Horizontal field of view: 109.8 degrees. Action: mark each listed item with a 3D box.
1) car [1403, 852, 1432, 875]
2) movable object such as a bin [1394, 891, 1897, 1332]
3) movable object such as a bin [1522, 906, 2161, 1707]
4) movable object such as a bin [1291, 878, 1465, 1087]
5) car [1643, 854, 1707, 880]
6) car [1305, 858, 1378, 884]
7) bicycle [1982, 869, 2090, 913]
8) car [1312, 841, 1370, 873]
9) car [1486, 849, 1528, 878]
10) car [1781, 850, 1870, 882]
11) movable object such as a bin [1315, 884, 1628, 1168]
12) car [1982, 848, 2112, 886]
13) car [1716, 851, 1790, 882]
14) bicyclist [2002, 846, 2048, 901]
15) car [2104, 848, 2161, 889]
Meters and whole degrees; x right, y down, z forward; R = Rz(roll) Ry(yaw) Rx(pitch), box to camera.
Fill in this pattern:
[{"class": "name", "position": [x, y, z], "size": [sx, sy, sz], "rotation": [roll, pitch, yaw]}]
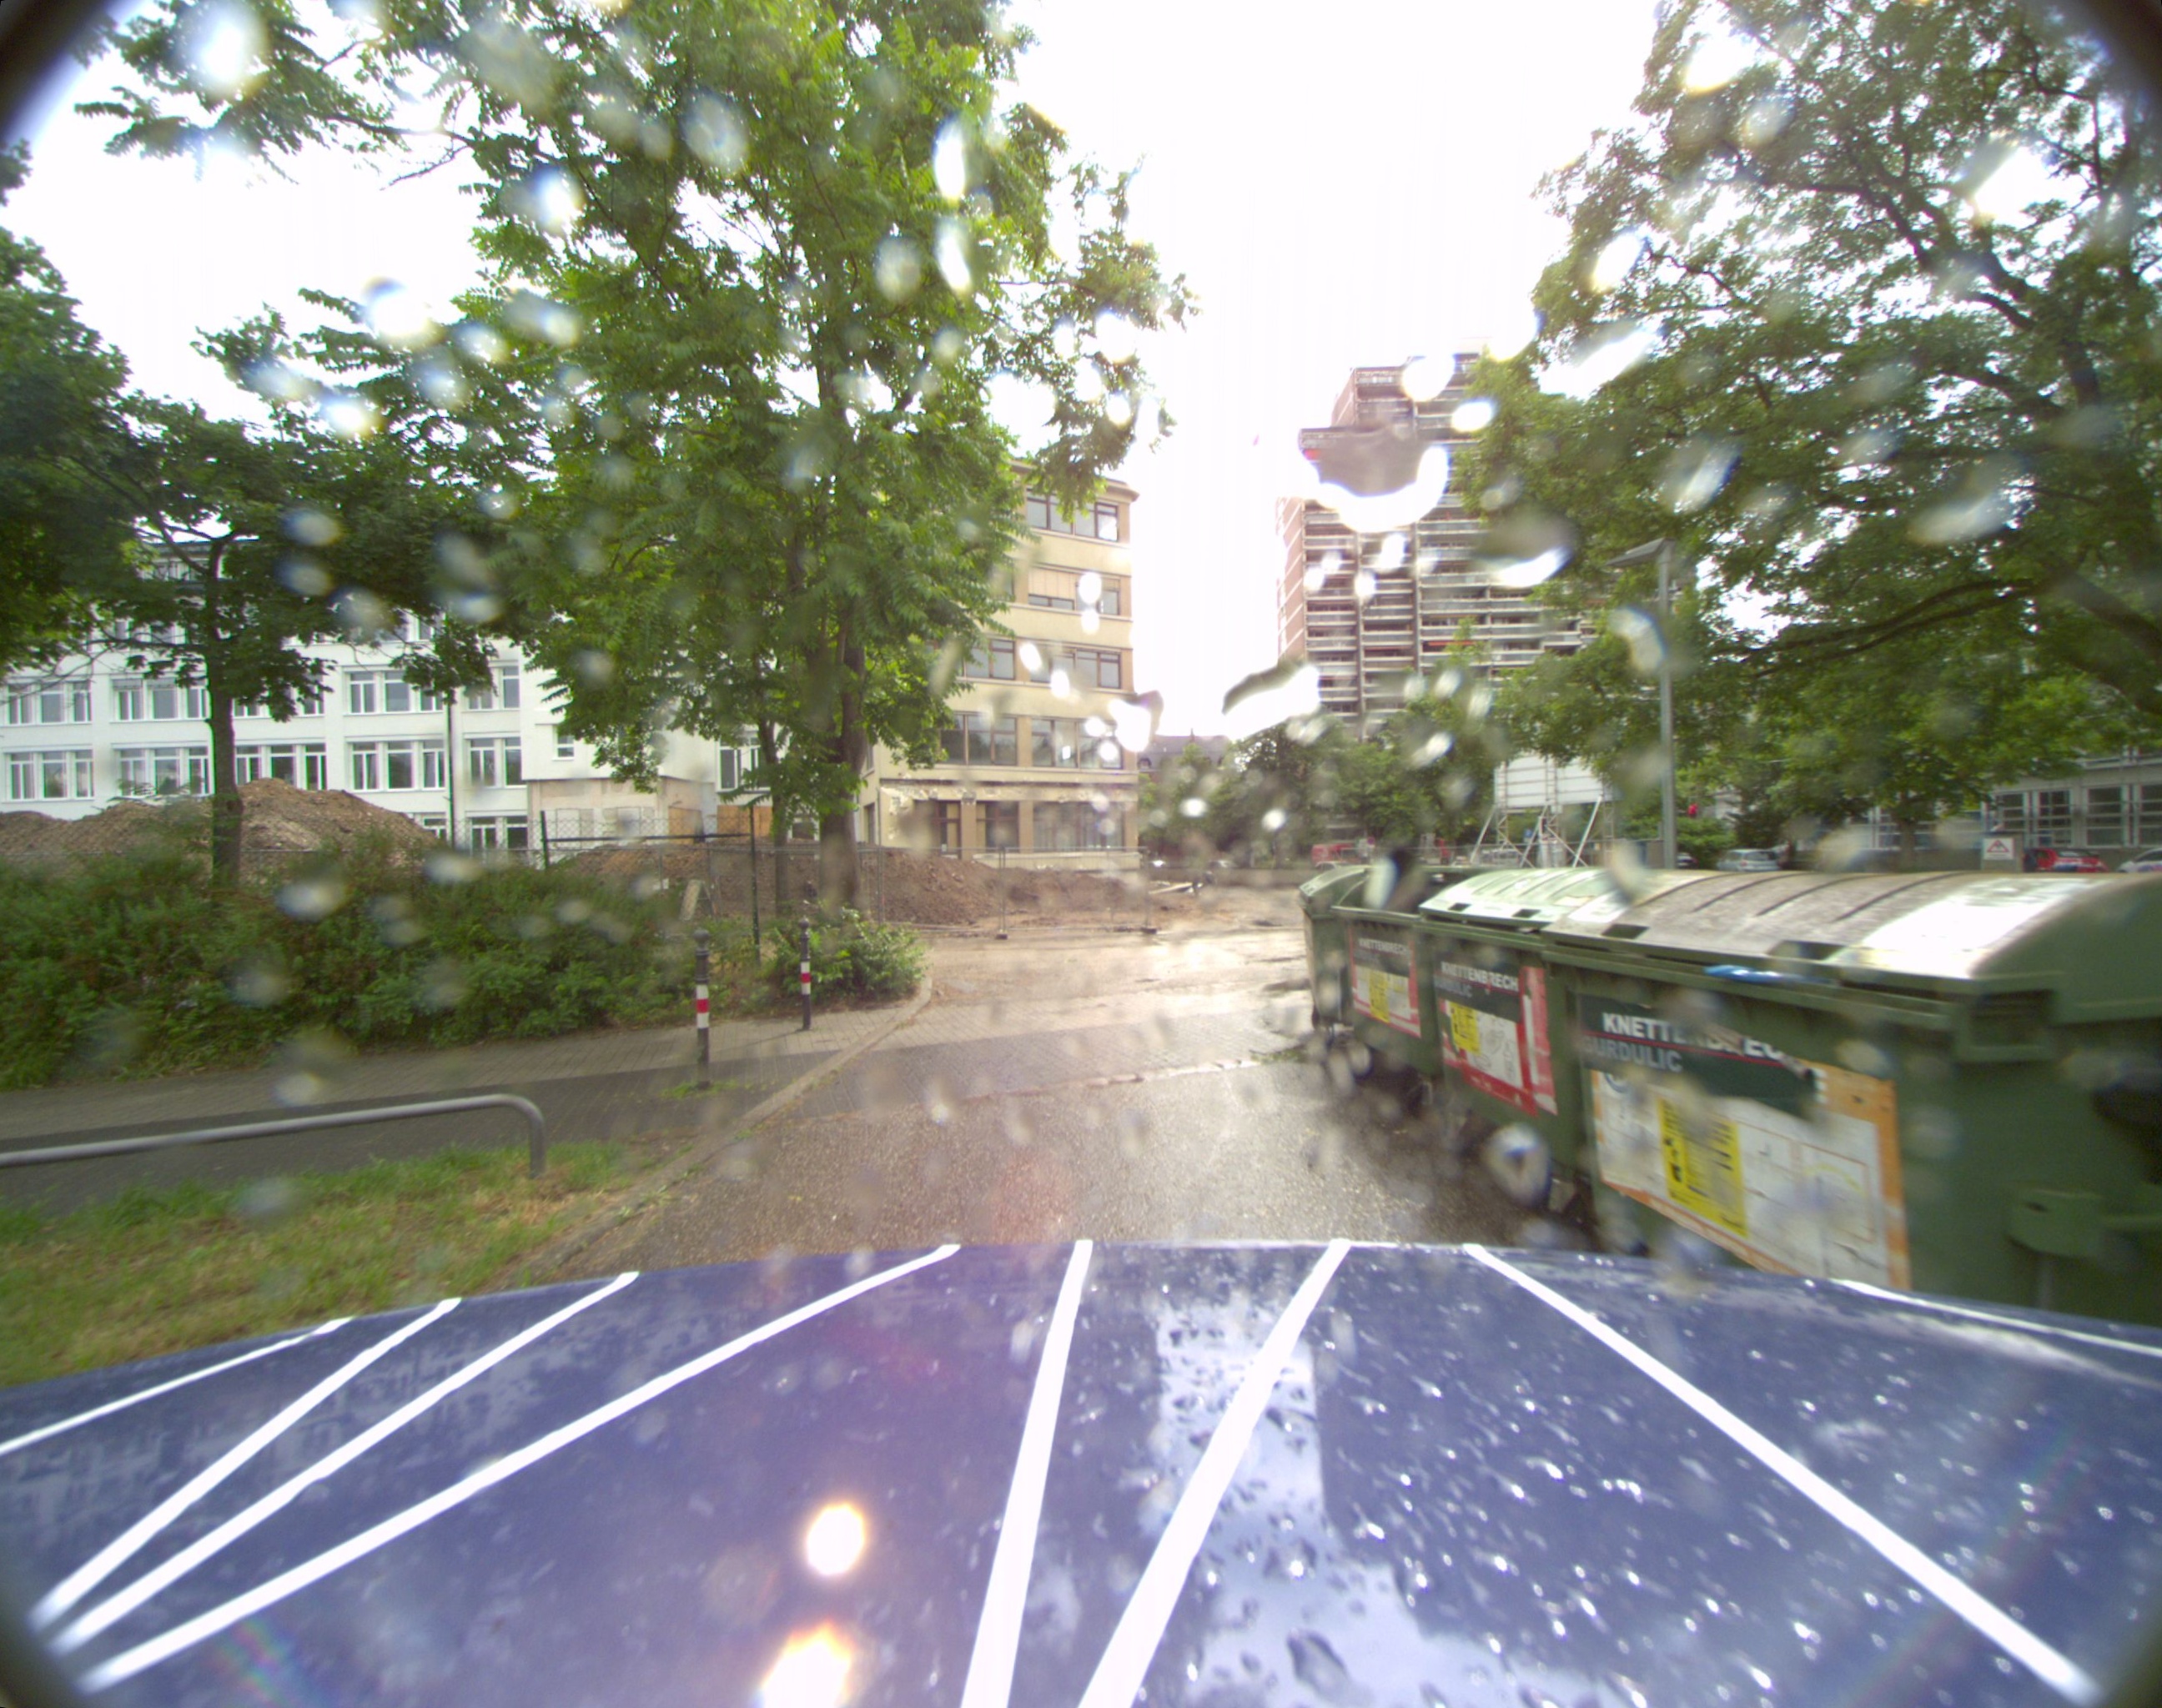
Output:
[{"class": "car", "position": [26.303, 0.720, 59.477], "size": [1.781, 1.556, 4.051], "rotation": [-1, 2, 19]}, {"class": "movable object such as a bin", "position": [2.302, 0.945, 3.403], "size": [1.167, 1.474, 1.402], "rotation": [-1, 0, -2]}, {"class": "movable object such as a bin", "position": [2.166, 0.927, 1.929], "size": [1.167, 1.474, 1.496], "rotation": [0, 1, -3]}, {"class": "movable object such as a bin", "position": [2.395, 0.978, 6.374], "size": [1.103, 1.464, 1.487], "rotation": [-2, 0, 13]}, {"class": "car", "position": [33.710, 0.708, 43.220], "size": [1.766, 1.389, 3.655], "rotation": [-1, 0, 19]}, {"class": "car", "position": [15.322, 1.019, 44.908], "size": [1.893, 1.461, 3.993], "rotation": [1, -2, -24]}, {"class": "bicycle", "position": [28.173, 1.079, 22.465], "size": [1.863, 1.258, 0.647], "rotation": [-1, -1, 33]}, {"class": "car", "position": [22.325, 0.236, 65.601], "size": [2.303, 2.618, 5.477], "rotation": [0, 0, -11]}, {"class": "car", "position": [29.266, 0.605, 52.307], "size": [1.933, 1.886, 4.652], "rotation": [0, 0, 22]}, {"class": "car", "position": [35.969, 0.565, 36.842], "size": [1.738, 1.461, 3.655], "rotation": [-1, 0, 20]}, {"class": "movable object such as a bin", "position": [2.339, 0.950, 4.820], "size": [1.168, 1.474, 1.402], "rotation": [-2, -1, -4]}, {"class": "car", "position": [39.395, 0.487, 31.106], "size": [1.738, 1.461, 3.413], "rotation": [0, 1, 20]}, {"class": "car", "position": [34.827, 0.622, 39.481], "size": [1.704, 1.542, 3.655], "rotation": [-1, 0, 21]}, {"class": "bicyclist", "position": [28.028, 0.586, 22.567], "size": [0.672, 1.607, 0.647], "rotation": [-1, -1, 33]}, {"class": "car", "position": [40.345, 0.507, 27.993], "size": [1.706, 1.443, 3.413], "rotation": [-1, 0, 23]}]
